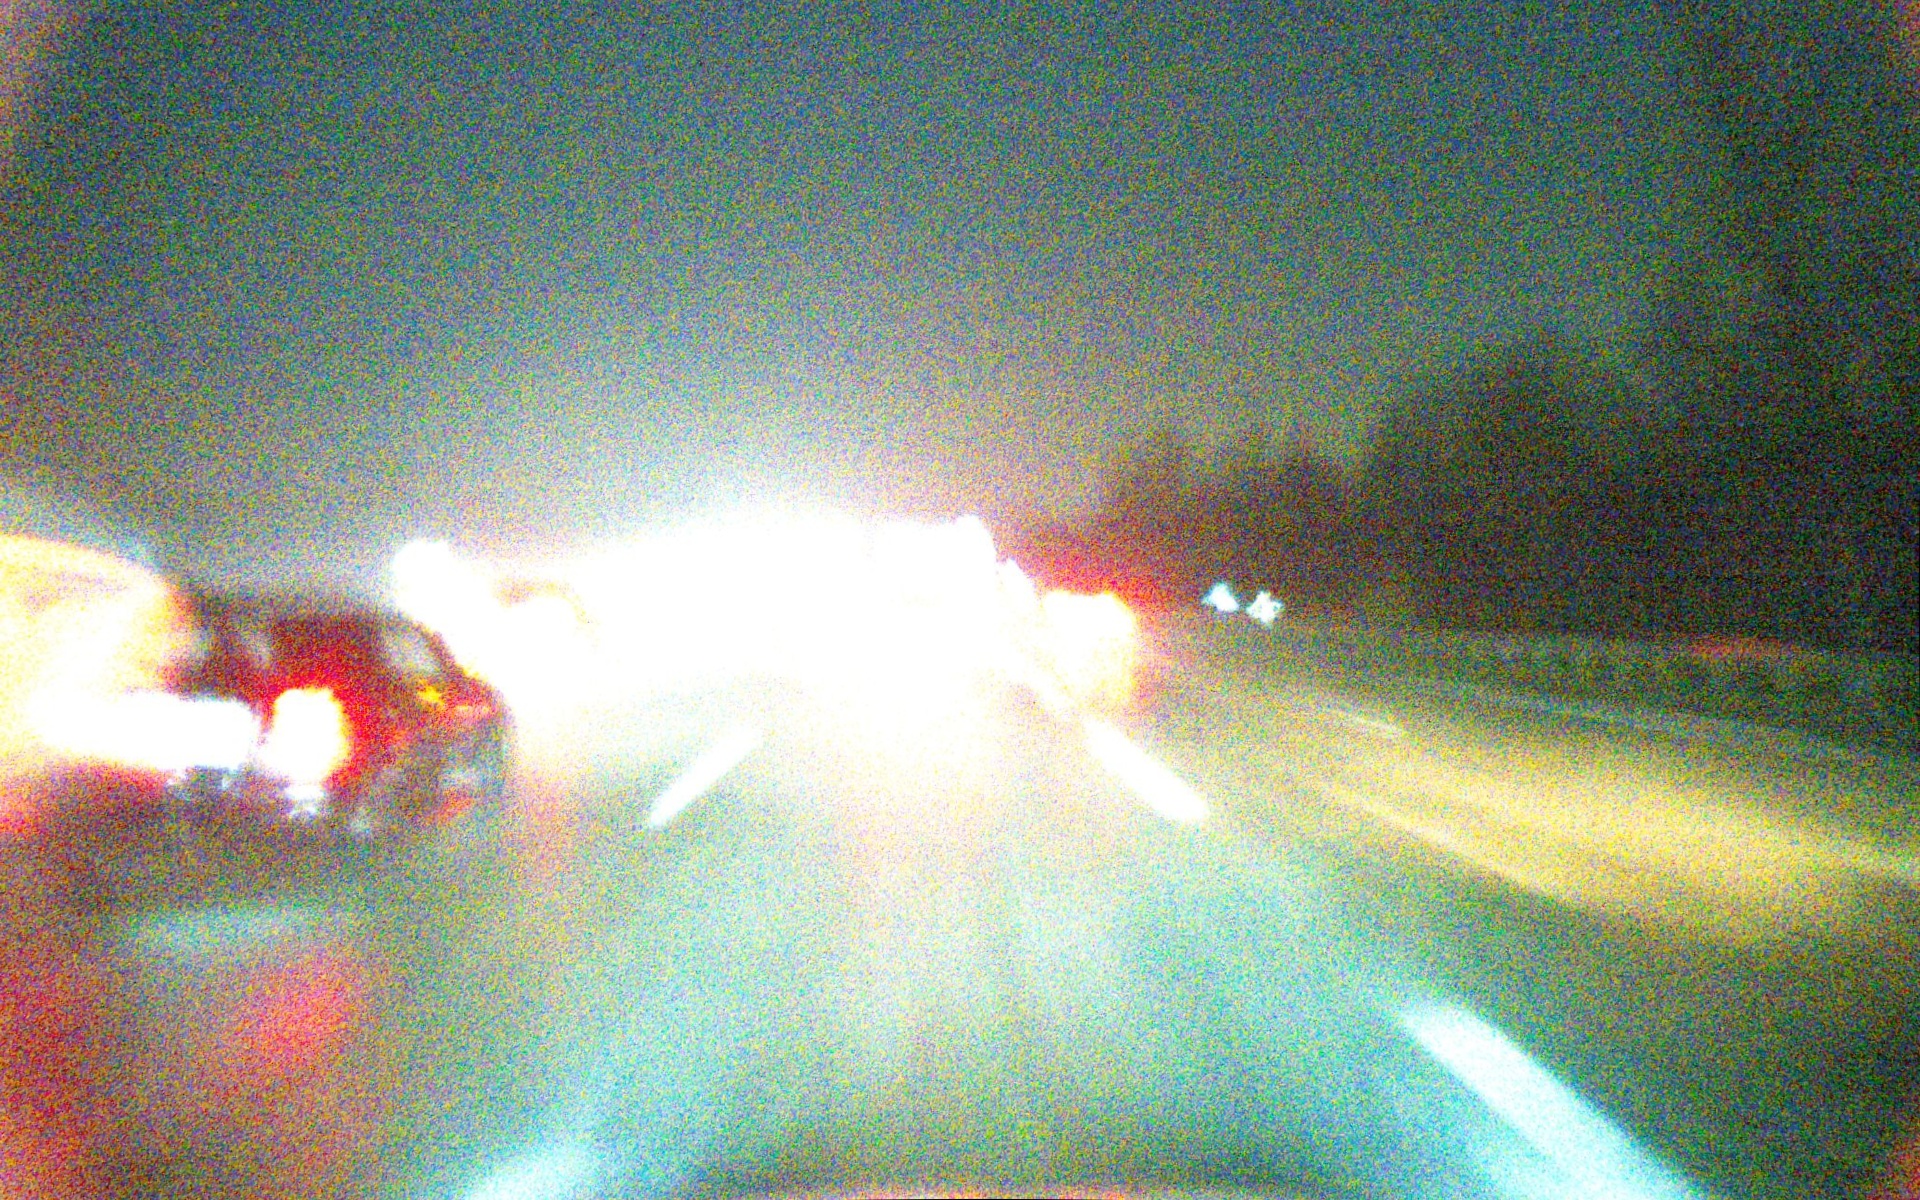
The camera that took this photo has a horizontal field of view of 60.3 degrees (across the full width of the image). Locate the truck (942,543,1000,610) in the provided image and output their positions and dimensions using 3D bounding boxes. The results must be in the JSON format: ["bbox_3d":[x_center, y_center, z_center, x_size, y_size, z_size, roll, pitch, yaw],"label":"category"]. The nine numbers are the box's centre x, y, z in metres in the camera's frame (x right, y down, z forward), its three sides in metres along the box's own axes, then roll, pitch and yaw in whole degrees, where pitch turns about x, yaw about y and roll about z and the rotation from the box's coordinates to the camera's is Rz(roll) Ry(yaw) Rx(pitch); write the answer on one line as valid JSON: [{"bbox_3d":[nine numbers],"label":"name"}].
[{"bbox_3d":[0.845,-1.886,137.740,4.079,5.306,9.946,1,0,-4],"label":"truck"}]

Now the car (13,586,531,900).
[{"bbox_3d":[-3.805,0.662,9.967,1.624,1.456,4.242,0,1,-4],"label":"car"}]

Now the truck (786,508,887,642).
[{"bbox_3d":[-4.897,-0.890,64.970,3.585,4.820,9.842,1,0,-5],"label":"truck"}]

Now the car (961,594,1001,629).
[{"bbox_3d":[1.079,0.604,86.293,1.953,1.733,4.457,1,0,-1],"label":"car"}]

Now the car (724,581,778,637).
[{"bbox_3d":[-9.135,0.383,72.488,2.221,2.313,5.377,1,0,-7],"label":"car"}]

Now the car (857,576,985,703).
[{"bbox_3d":[-0.534,0.512,24.480,1.729,1.718,4.000,0,1,0],"label":"car"}]

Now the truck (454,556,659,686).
[{"bbox_3d":[-7.590,0.377,31.865,2.800,2.239,5.854,1,0,-4],"label":"truck"}]

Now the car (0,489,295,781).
[{"bbox_3d":[-8.137,0.243,14.923,2.080,2.141,5.628,0,0,-1],"label":"car"}]

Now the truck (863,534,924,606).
[{"bbox_3d":[-5.232,-2.284,132.498,4.166,5.539,10.884,1,0,1],"label":"truck"}]

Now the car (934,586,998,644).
[{"bbox_3d":[0.164,0.483,54.503,1.997,1.792,4.514,1,0,-1],"label":"car"}]

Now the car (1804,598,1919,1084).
[{"bbox_3d":[3.834,0.754,3.656,1.734,1.483,4.194,0,0,-1],"label":"car"}]

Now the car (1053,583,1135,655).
[{"bbox_3d":[3.523,0.488,44.060,1.839,1.793,4.000,1,0,0],"label":"car"}]
